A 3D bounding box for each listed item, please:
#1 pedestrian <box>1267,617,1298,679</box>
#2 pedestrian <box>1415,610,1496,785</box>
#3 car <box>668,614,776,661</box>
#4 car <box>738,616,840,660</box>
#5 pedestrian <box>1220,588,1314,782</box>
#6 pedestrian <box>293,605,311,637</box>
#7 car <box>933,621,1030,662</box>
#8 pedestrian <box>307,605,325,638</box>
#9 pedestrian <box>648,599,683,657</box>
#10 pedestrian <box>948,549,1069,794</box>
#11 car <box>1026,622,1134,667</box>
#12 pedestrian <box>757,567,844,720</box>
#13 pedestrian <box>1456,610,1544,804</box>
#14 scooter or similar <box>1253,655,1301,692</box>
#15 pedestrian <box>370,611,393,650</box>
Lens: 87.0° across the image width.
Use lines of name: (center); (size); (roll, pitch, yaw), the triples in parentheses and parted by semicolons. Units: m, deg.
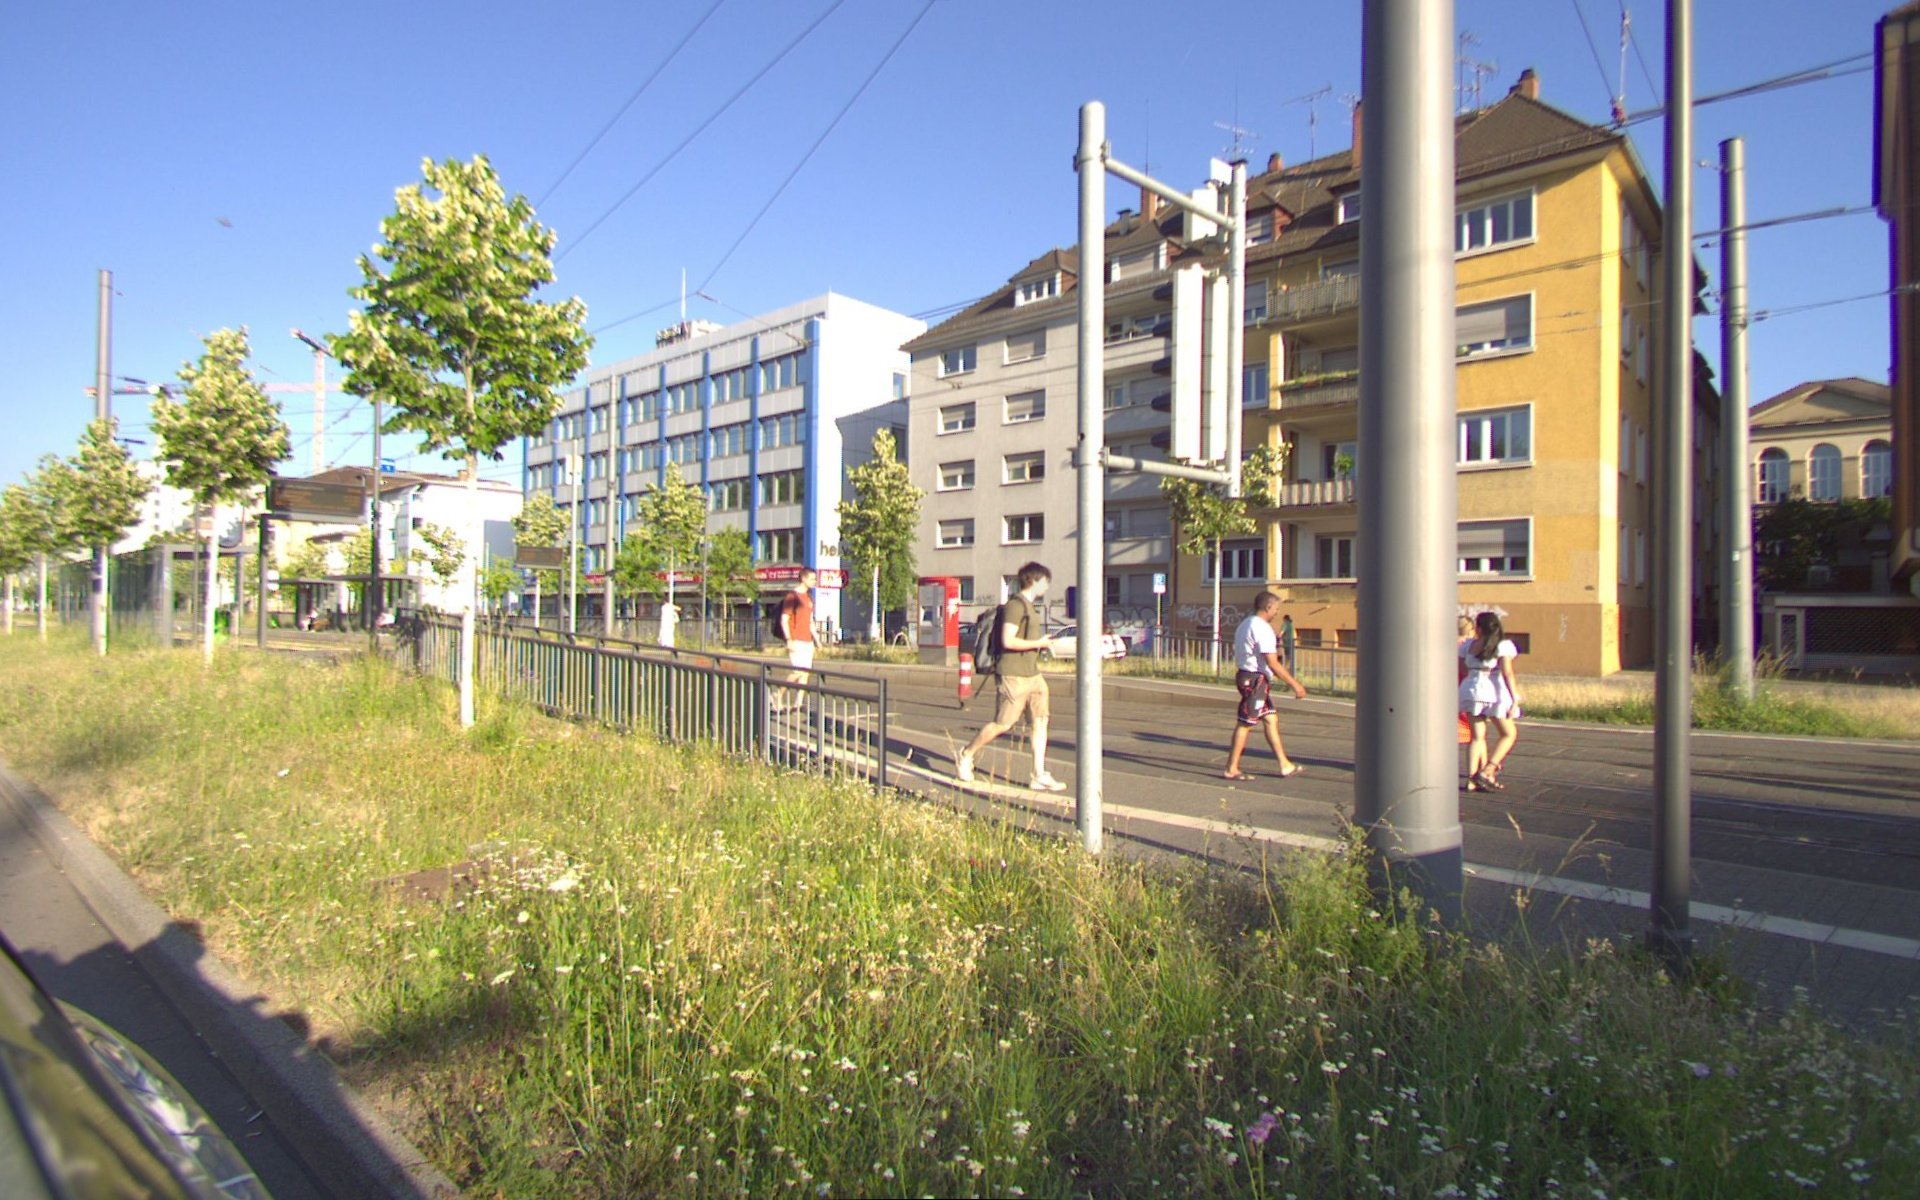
pedestrian: (9.859, 1.450, 30.920); (0.553, 1.861, 0.724); (0, 0, -42)
pedestrian: (4.280, 0.814, 8.780); (0.520, 1.442, 0.635); (0, 0, 17)
car: (-8.614, 1.301, 36.453); (3.941, 1.519, 1.861); (0, 0, 41)
car: (-6.627, 1.434, 39.034); (3.941, 1.519, 1.861); (0, 0, 41)
pedestrian: (2.634, 0.699, 8.661); (0.617, 1.560, 0.780); (-1, -2, 29)
pedestrian: (-34.963, 1.099, 53.742); (0.772, 1.705, 0.651); (0, 0, 44)
car: (0.860, 1.670, 41.801); (3.672, 1.519, 1.861); (0, 0, 41)
pedestrian: (-33.237, 1.096, 52.211); (0.650, 1.705, 0.773); (-1, 0, -43)
pedestrian: (-8.794, 0.825, 30.211); (0.620, 1.685, 0.776); (0, 0, 44)
pedestrian: (0.401, 0.546, 8.246); (0.620, 1.878, 0.776); (0, 0, 44)
car: (4.557, 1.663, 38.643); (3.672, 1.519, 1.861); (0, 0, 41)
pedestrian: (-1.864, 0.485, 11.839); (0.620, 1.711, 0.776); (0, 0, 44)
pedestrian: (4.294, 0.815, 8.085); (0.521, 1.467, 0.634); (0, 0, 20)
scooter or similar: (9.730, 2.242, 31.073); (0.480, 1.013, 1.331); (-1, 0, -42)
pedestrian: (-25.970, 1.362, 45.436); (0.771, 1.705, 0.651); (0, 0, 39)
